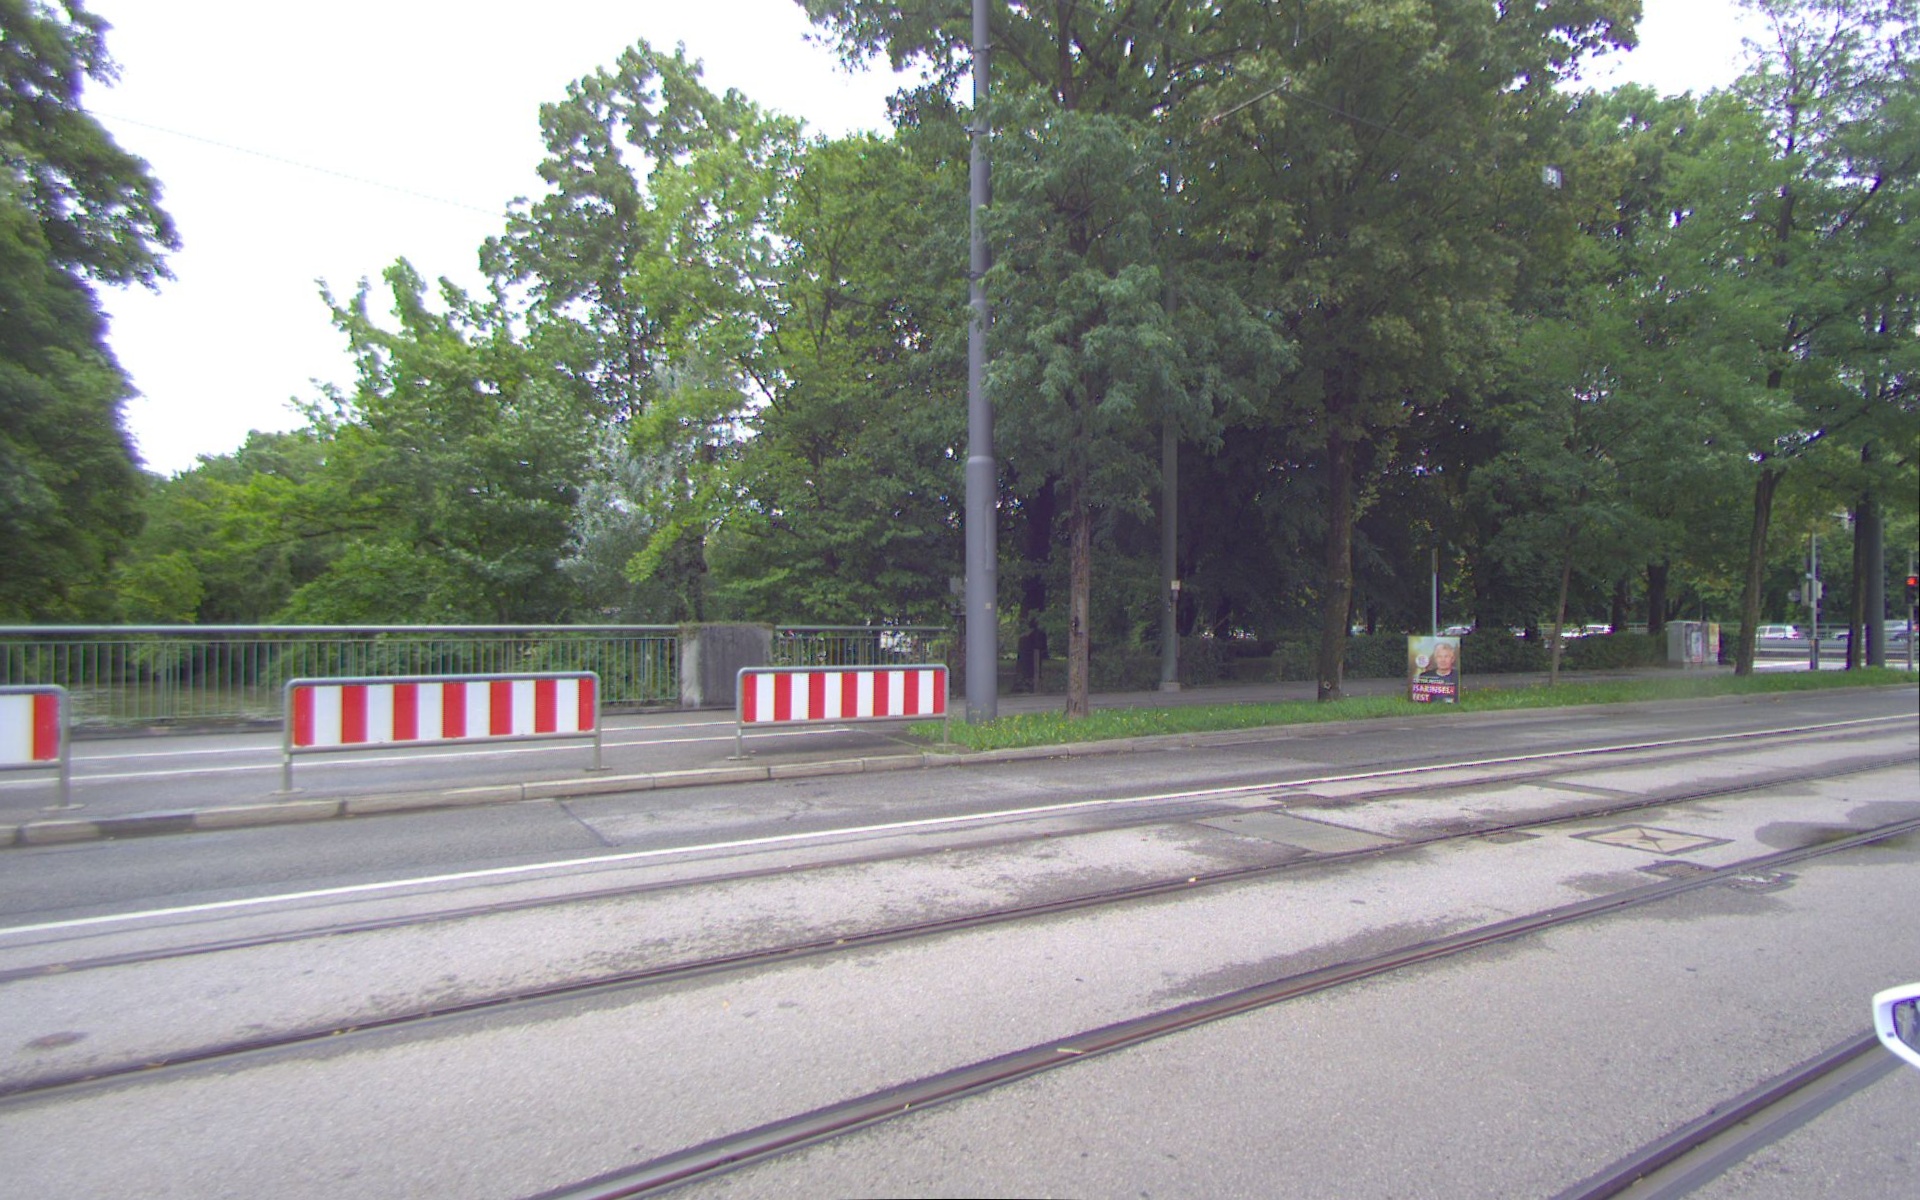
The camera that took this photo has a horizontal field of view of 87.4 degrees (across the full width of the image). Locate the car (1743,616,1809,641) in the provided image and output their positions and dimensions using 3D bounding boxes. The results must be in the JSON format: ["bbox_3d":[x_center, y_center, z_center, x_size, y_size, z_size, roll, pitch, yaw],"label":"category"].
[{"bbox_3d":[52.750,1.811,64.950,1.238,1.471,3.090,1,0,-34],"label":"car"}]

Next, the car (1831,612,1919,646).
[{"bbox_3d":[55.648,1.740,60.908,1.476,1.912,3.995,1,0,-35],"label":"car"}]

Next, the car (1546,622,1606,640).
[{"bbox_3d":[46.214,2.318,75.418,1.238,1.201,3.705,1,0,-34],"label":"car"}]
